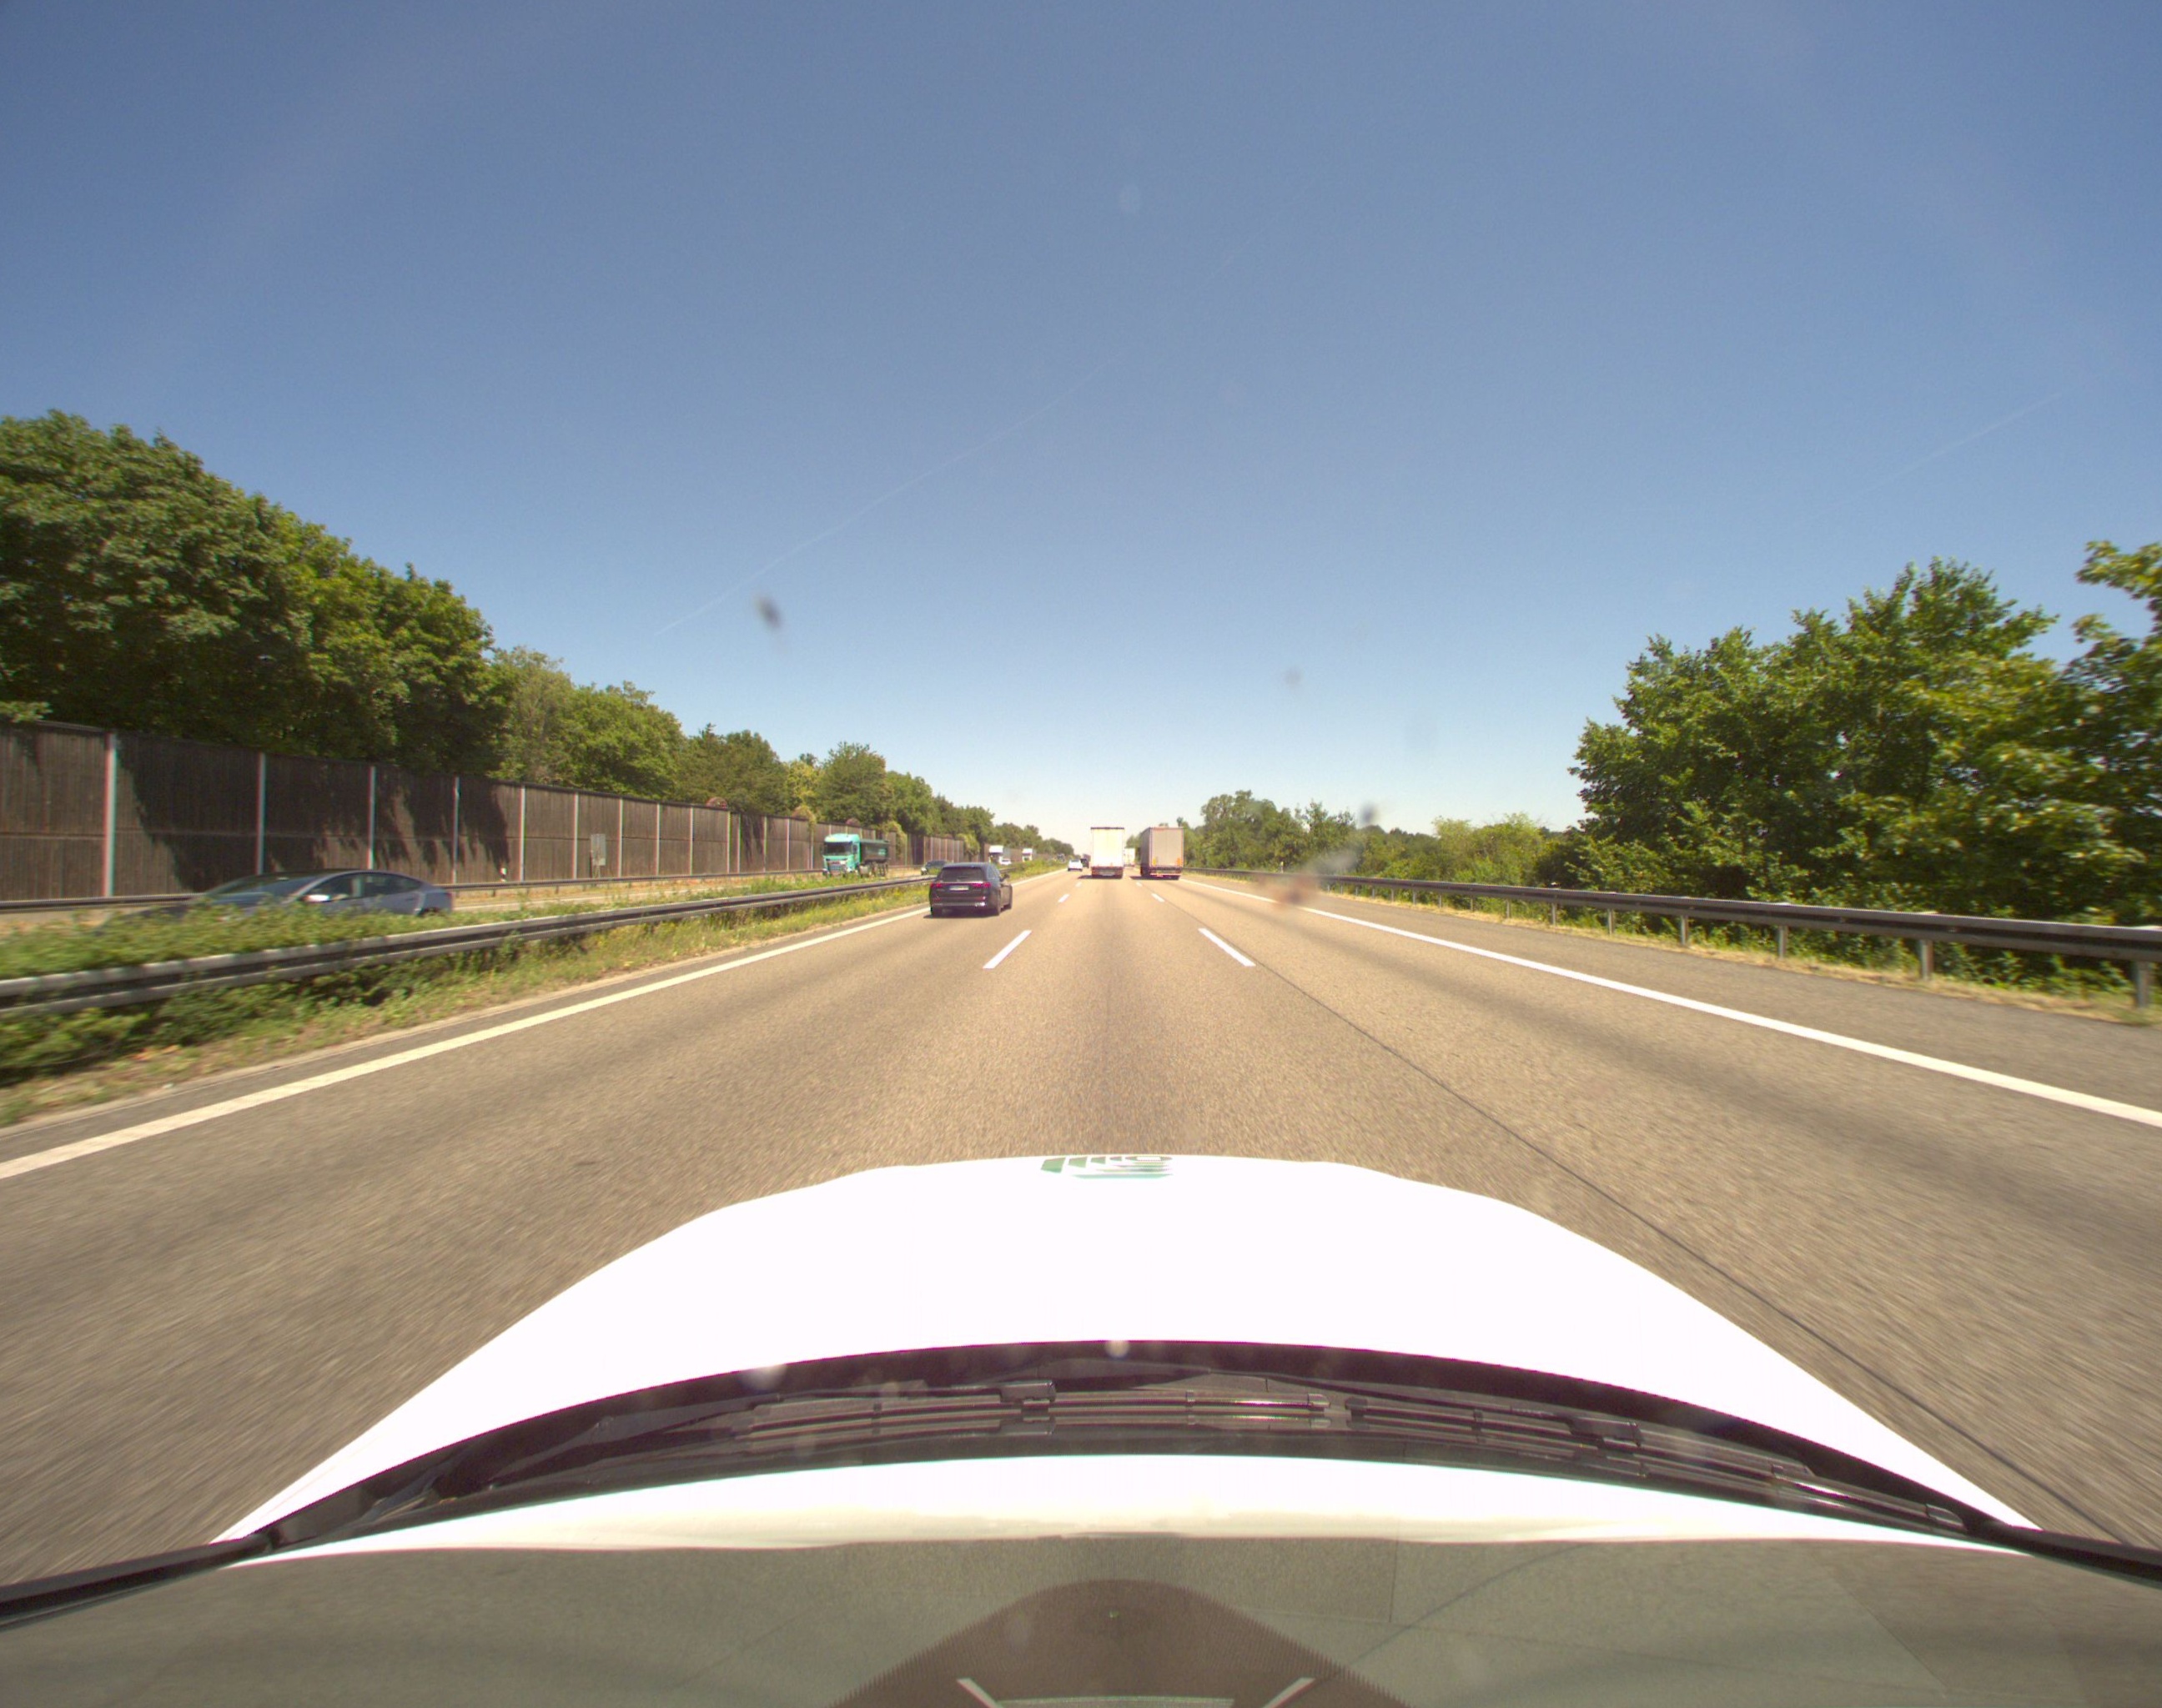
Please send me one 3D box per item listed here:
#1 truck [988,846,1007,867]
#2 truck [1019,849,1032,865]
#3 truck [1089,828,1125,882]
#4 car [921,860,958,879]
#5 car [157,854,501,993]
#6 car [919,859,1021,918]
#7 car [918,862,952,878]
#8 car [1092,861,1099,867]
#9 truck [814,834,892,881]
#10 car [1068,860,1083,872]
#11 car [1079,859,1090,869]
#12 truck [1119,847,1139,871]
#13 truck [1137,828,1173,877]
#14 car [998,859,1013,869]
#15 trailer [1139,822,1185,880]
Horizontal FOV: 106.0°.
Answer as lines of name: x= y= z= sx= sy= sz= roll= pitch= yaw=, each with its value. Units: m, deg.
truck: x=-16.285 y=0.544 z=159.398 sx=2.748 sy=4.022 sz=6.735 roll=0 pitch=-1 yaw=1
truck: x=-15.069 y=0.819 z=222.140 sx=2.823 sy=4.183 sz=7.143 roll=0 pitch=-1 yaw=1
truck: x=2.099 y=0.122 z=68.894 sx=2.697 sy=4.086 sz=13.475 roll=0 pitch=-1 yaw=1
car: x=-10.943 y=1.197 z=63.356 sx=1.950 sy=1.446 sz=4.460 roll=-1 pitch=-1 yaw=2
car: x=-12.425 y=1.029 z=13.910 sx=1.986 sy=1.948 sz=4.001 roll=2 pitch=0 yaw=2
car: x=-3.110 y=0.927 z=24.107 sx=1.936 sy=1.506 sz=5.824 roll=-1 pitch=0 yaw=2
car: x=-13.978 y=1.497 z=78.286 sx=1.855 sy=1.441 sz=5.093 roll=-1 pitch=-1 yaw=6
car: x=3.750 y=2.621 z=214.040 sx=1.850 sy=1.617 sz=3.998 roll=-1 pitch=-1 yaw=-1
truck: x=-19.413 y=0.361 z=70.404 sx=3.079 sy=3.675 sz=12.369 roll=-1 pitch=-1 yaw=1
car: x=-0.685 y=1.558 z=104.645 sx=1.849 sy=1.486 sz=3.999 roll=-1 pitch=-1 yaw=0
car: x=0.531 y=1.659 z=139.287 sx=1.850 sy=1.617 sz=3.998 roll=-1 pitch=-1 yaw=-1
truck: x=9.091 y=0.959 z=156.476 sx=3.361 sy=4.304 sz=11.453 roll=2 pitch=0 yaw=2
truck: x=6.587 y=-0.093 z=73.635 sx=2.682 sy=4.216 sz=7.839 roll=0 pitch=-1 yaw=1
car: x=-12.856 y=1.717 z=138.626 sx=1.986 sy=1.590 sz=4.494 roll=0 pitch=-1 yaw=2
trailer: x=6.466 y=-0.155 z=67.020 sx=2.694 sy=4.216 sz=13.213 roll=0 pitch=-1 yaw=1
